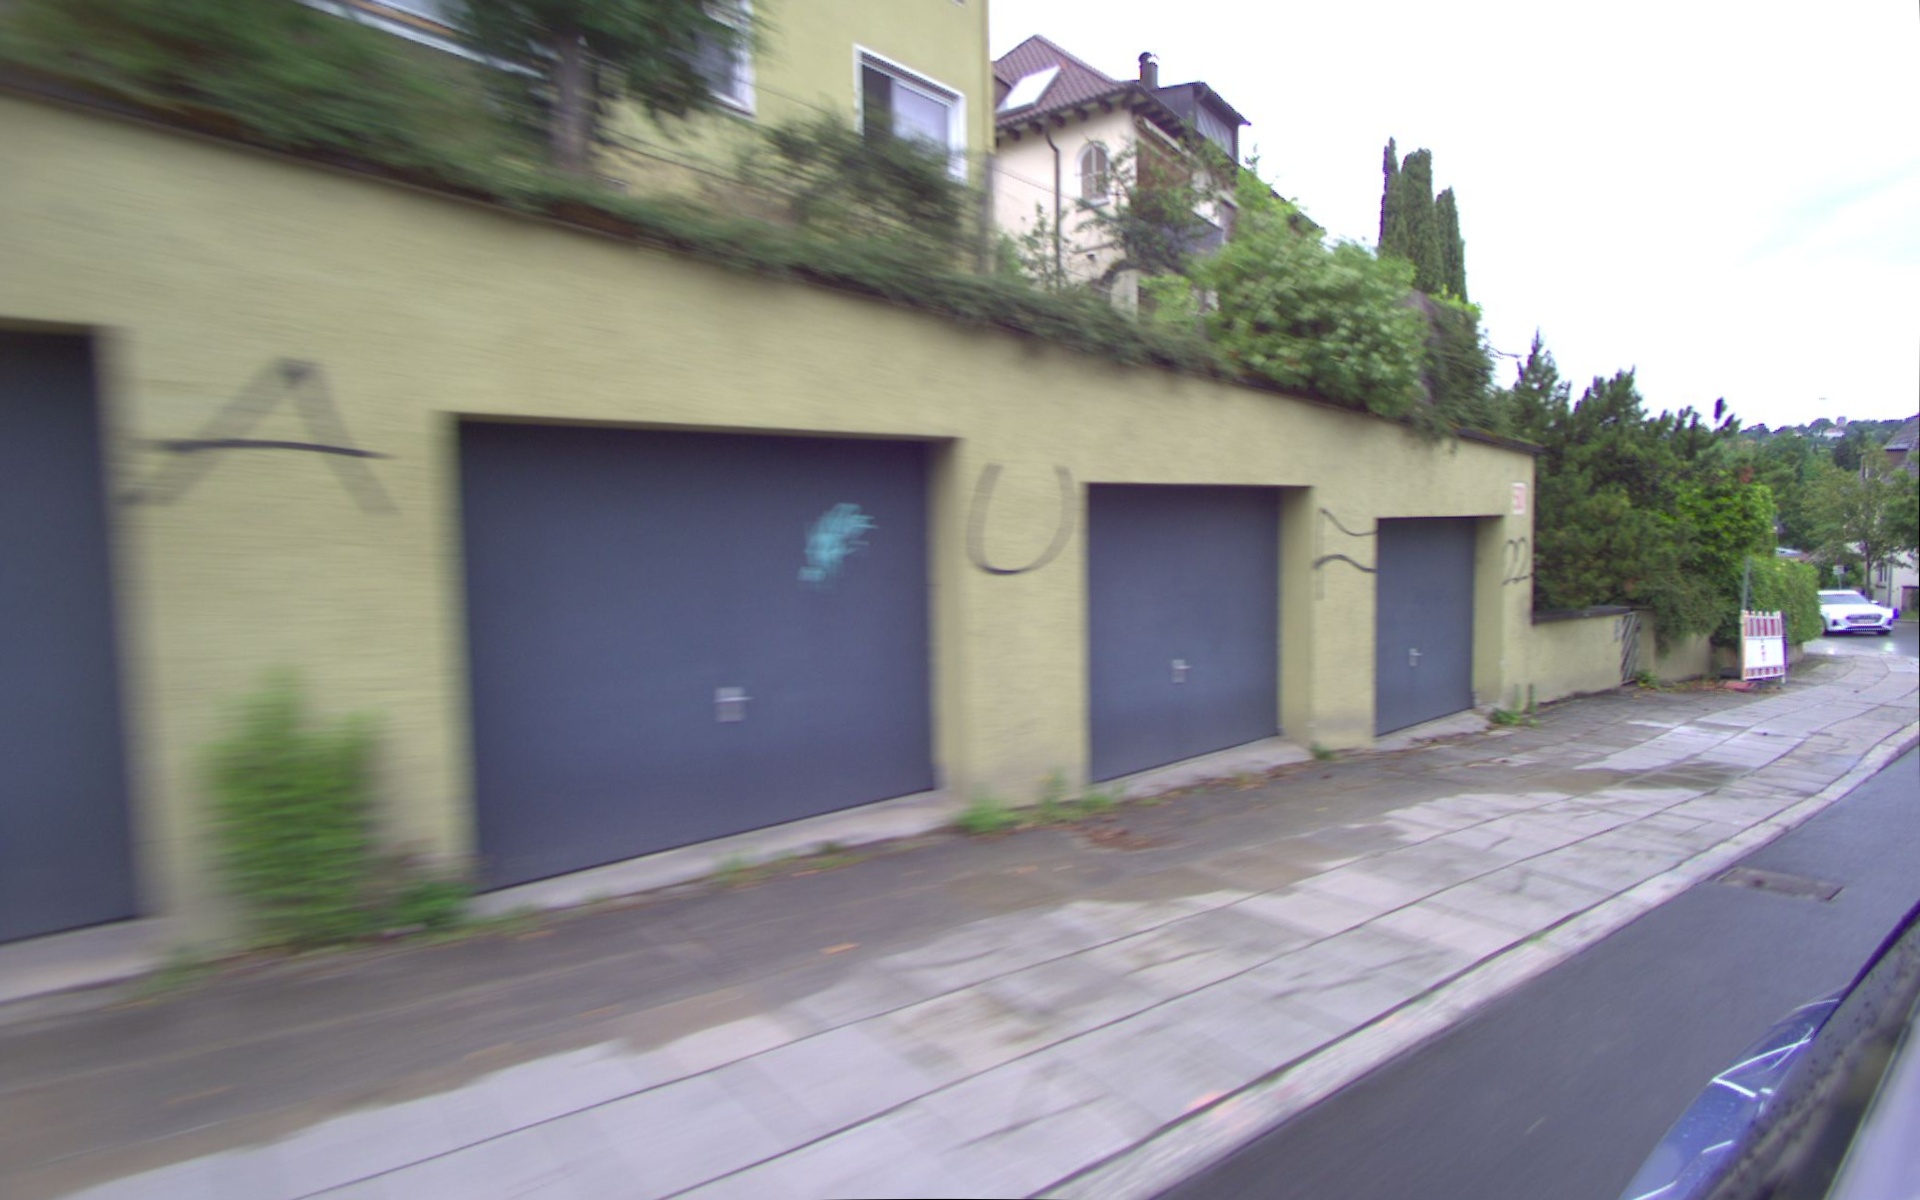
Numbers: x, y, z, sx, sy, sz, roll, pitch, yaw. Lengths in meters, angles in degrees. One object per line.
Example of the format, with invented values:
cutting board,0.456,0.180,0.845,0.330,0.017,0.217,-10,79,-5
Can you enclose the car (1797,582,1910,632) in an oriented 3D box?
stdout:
car,32.895,0.197,37.421,1.981,1.730,4.533,0,1,26
